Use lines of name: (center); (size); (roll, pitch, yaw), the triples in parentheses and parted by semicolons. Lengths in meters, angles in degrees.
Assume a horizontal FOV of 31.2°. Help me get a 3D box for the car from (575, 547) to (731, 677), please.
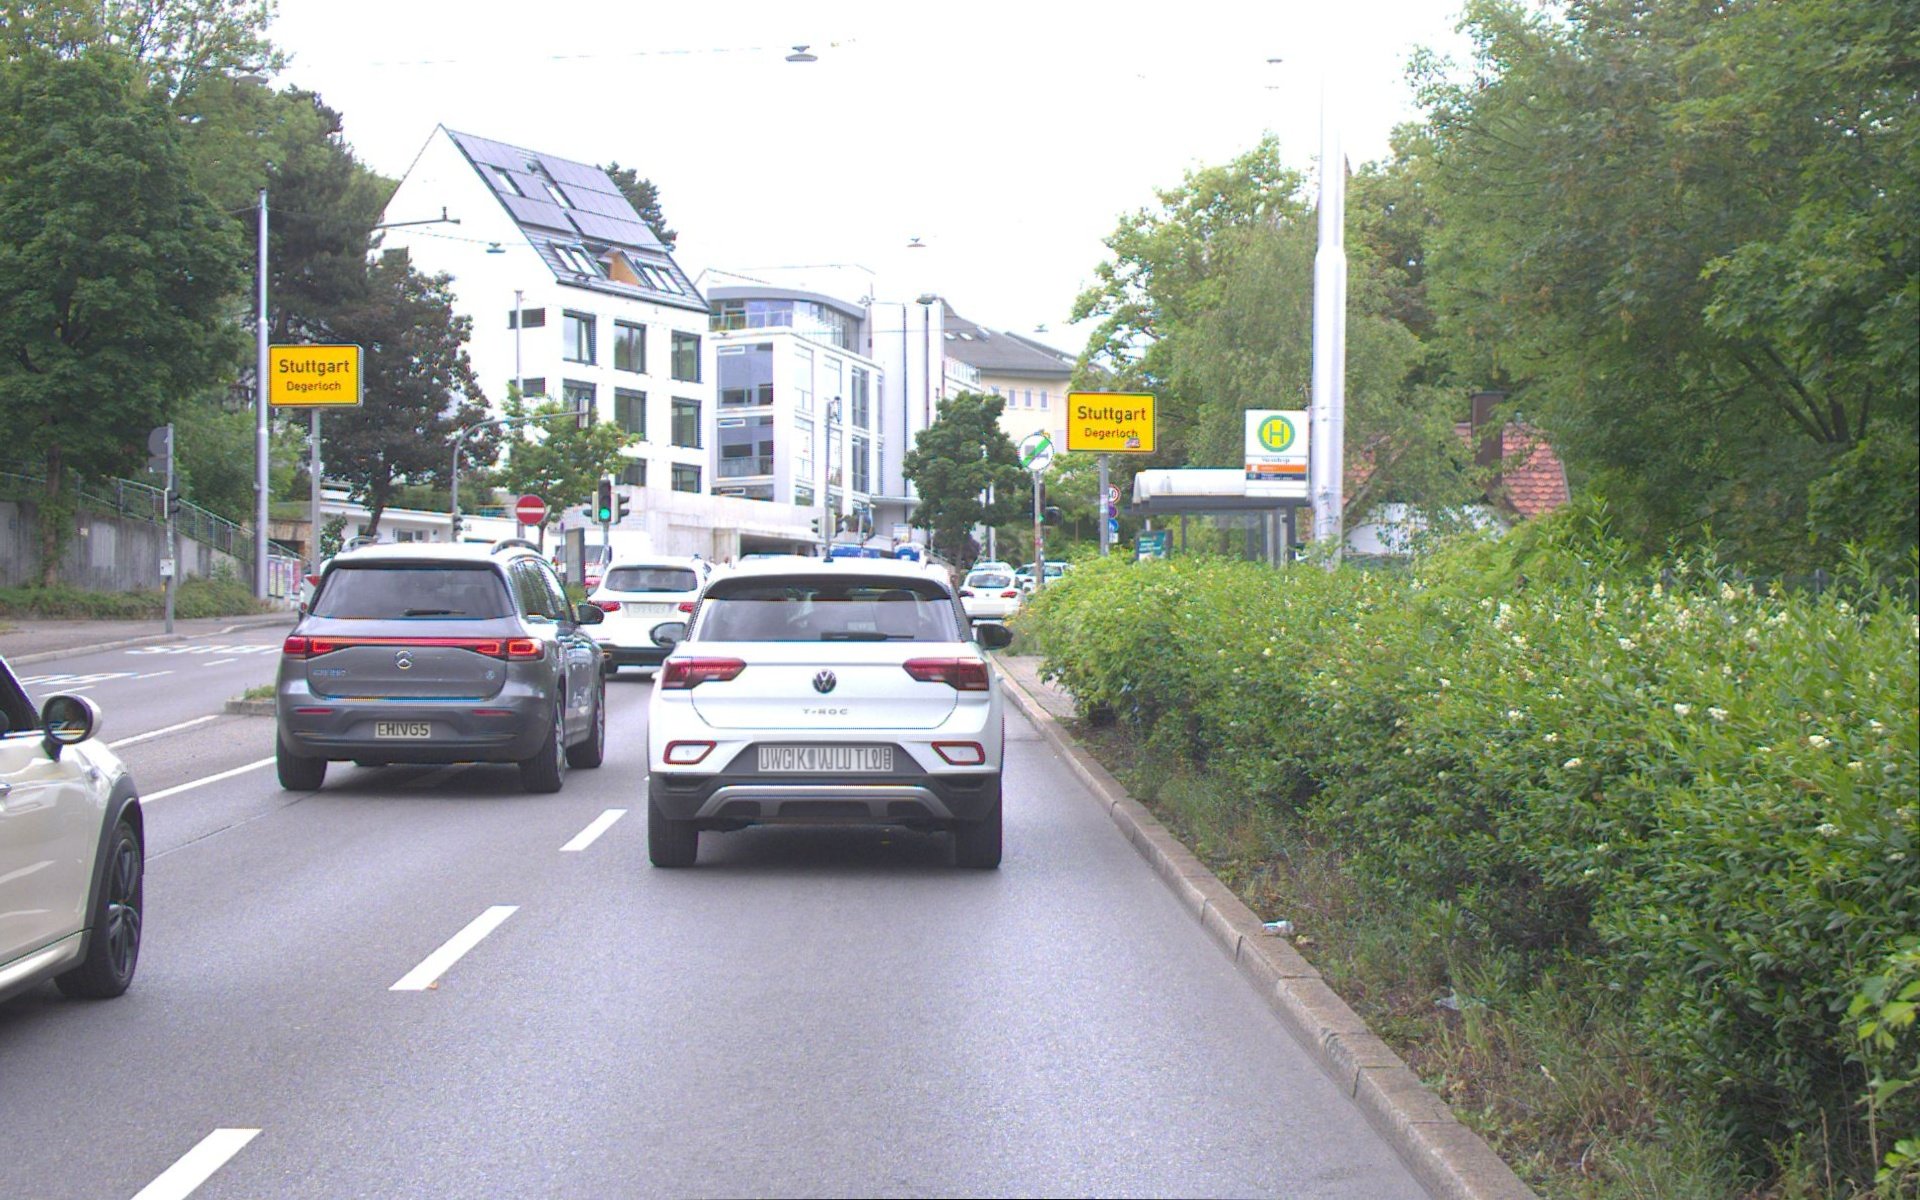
car: (-4.069, 0.131, 46.196); (1.858, 1.646, 4.636); (-1, 1, -2)

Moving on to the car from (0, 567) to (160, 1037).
car: (-3.660, 0.602, 10.456); (1.628, 1.388, 3.566); (0, 1, 0)

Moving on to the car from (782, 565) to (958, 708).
car: (-1.040, 0.366, 38.607); (1.858, 1.495, 4.056); (-1, 1, -2)

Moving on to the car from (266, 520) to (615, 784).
car: (-3.494, 0.300, 23.904); (1.812, 1.646, 4.636); (0, 1, -1)

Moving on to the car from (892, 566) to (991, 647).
car: (-0.377, 0.111, 70.073); (1.873, 1.496, 4.555); (3, 1, -1)

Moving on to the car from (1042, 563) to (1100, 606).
car: (3.998, -0.568, 123.493); (1.858, 1.495, 4.055); (0, 1, 5)

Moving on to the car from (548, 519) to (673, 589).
car: (-13.194, -1.730, 130.391); (2.233, 2.559, 7.417); (0, 1, 15)

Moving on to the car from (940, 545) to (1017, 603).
car: (0.479, -0.694, 91.452); (1.858, 1.495, 4.056); (-1, 1, -2)

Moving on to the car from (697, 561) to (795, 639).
car: (-4.268, -0.026, 69.098); (1.858, 1.495, 4.056); (-1, 1, -2)

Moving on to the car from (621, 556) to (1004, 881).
car: (-0.774, 0.543, 18.215); (1.811, 1.534, 3.690); (-1, 1, -2)

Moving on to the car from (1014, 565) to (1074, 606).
car: (3.171, -0.550, 128.669); (1.858, 1.495, 4.054); (0, 1, 7)

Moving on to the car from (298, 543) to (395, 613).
car: (-14.007, -0.511, 78.645); (1.728, 1.535, 4.044); (1, 1, -4)
